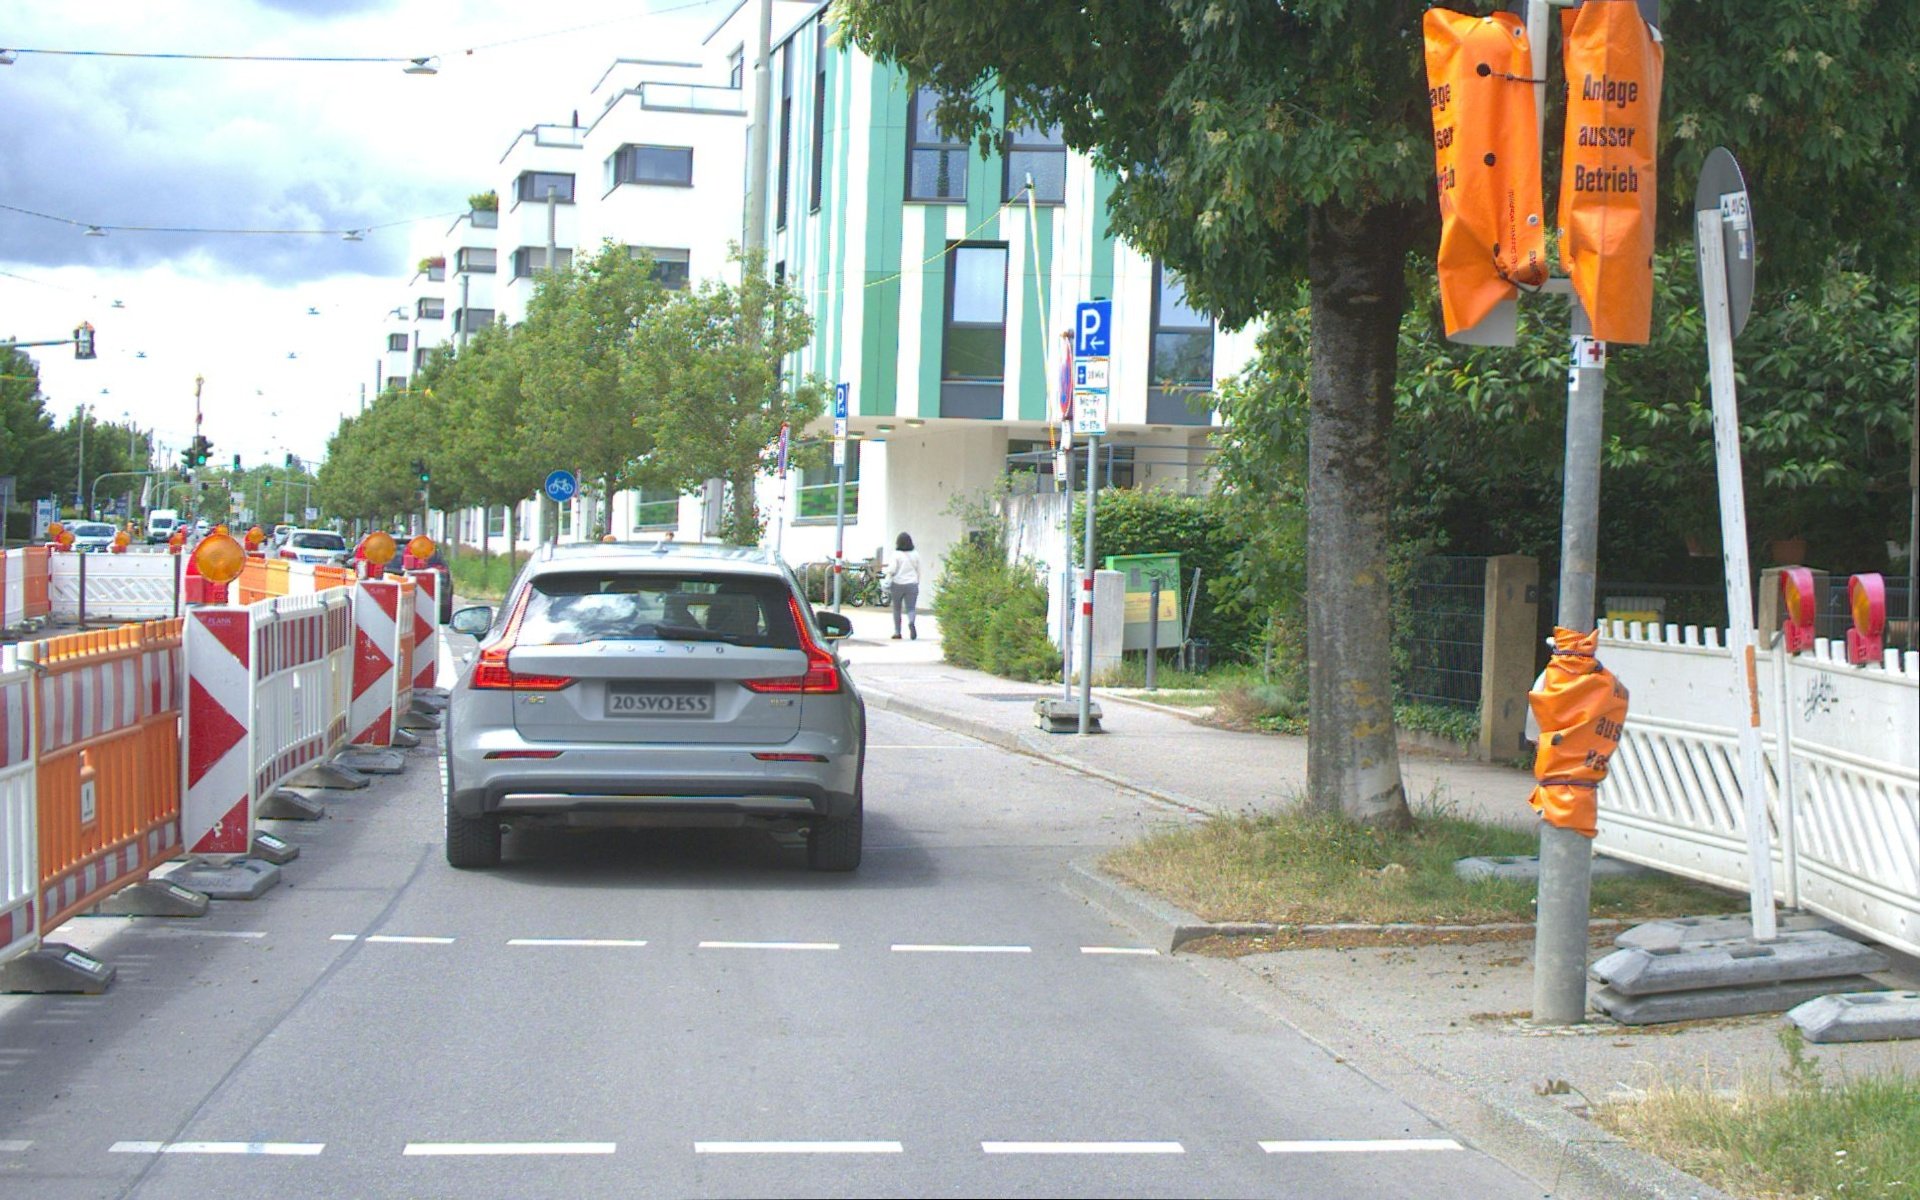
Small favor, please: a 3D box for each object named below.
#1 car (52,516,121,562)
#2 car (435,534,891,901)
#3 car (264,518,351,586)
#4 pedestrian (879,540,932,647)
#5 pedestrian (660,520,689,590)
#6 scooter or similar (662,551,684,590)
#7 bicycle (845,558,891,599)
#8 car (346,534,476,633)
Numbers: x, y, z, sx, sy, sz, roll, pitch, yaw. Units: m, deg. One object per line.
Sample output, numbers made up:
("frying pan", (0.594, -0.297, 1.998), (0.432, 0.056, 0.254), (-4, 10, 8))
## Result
("car", (-29.612, -2.081, 116.629), (1.854, 1.508, 4.001), (1, 1, -8))
("car", (-1.542, 0.462, 16.436), (1.854, 1.508, 4.001), (1, 1, -9))
("car", (-15.803, -1.187, 83.184), (1.844, 1.508, 4.001), (3, 1, -13))
("pedestrian", (-0.796, -0.098, 50.186), (0.580, 1.546, 0.869), (1, 1, -12))
("pedestrian", (-6.852, -1.078, 82.557), (0.605, 1.649, 0.552), (1, 1, -13))
("scooter or similar", (-6.861, -0.710, 82.162), (0.421, 0.902, 0.682), (1, 1, -13))
("bicycle", (-1.921, -0.445, 71.789), (1.022, 0.839, 0.307), (0, 2, -45))
("car", (-9.352, -0.310, 58.357), (1.854, 1.508, 4.001), (3, 1, -13))
